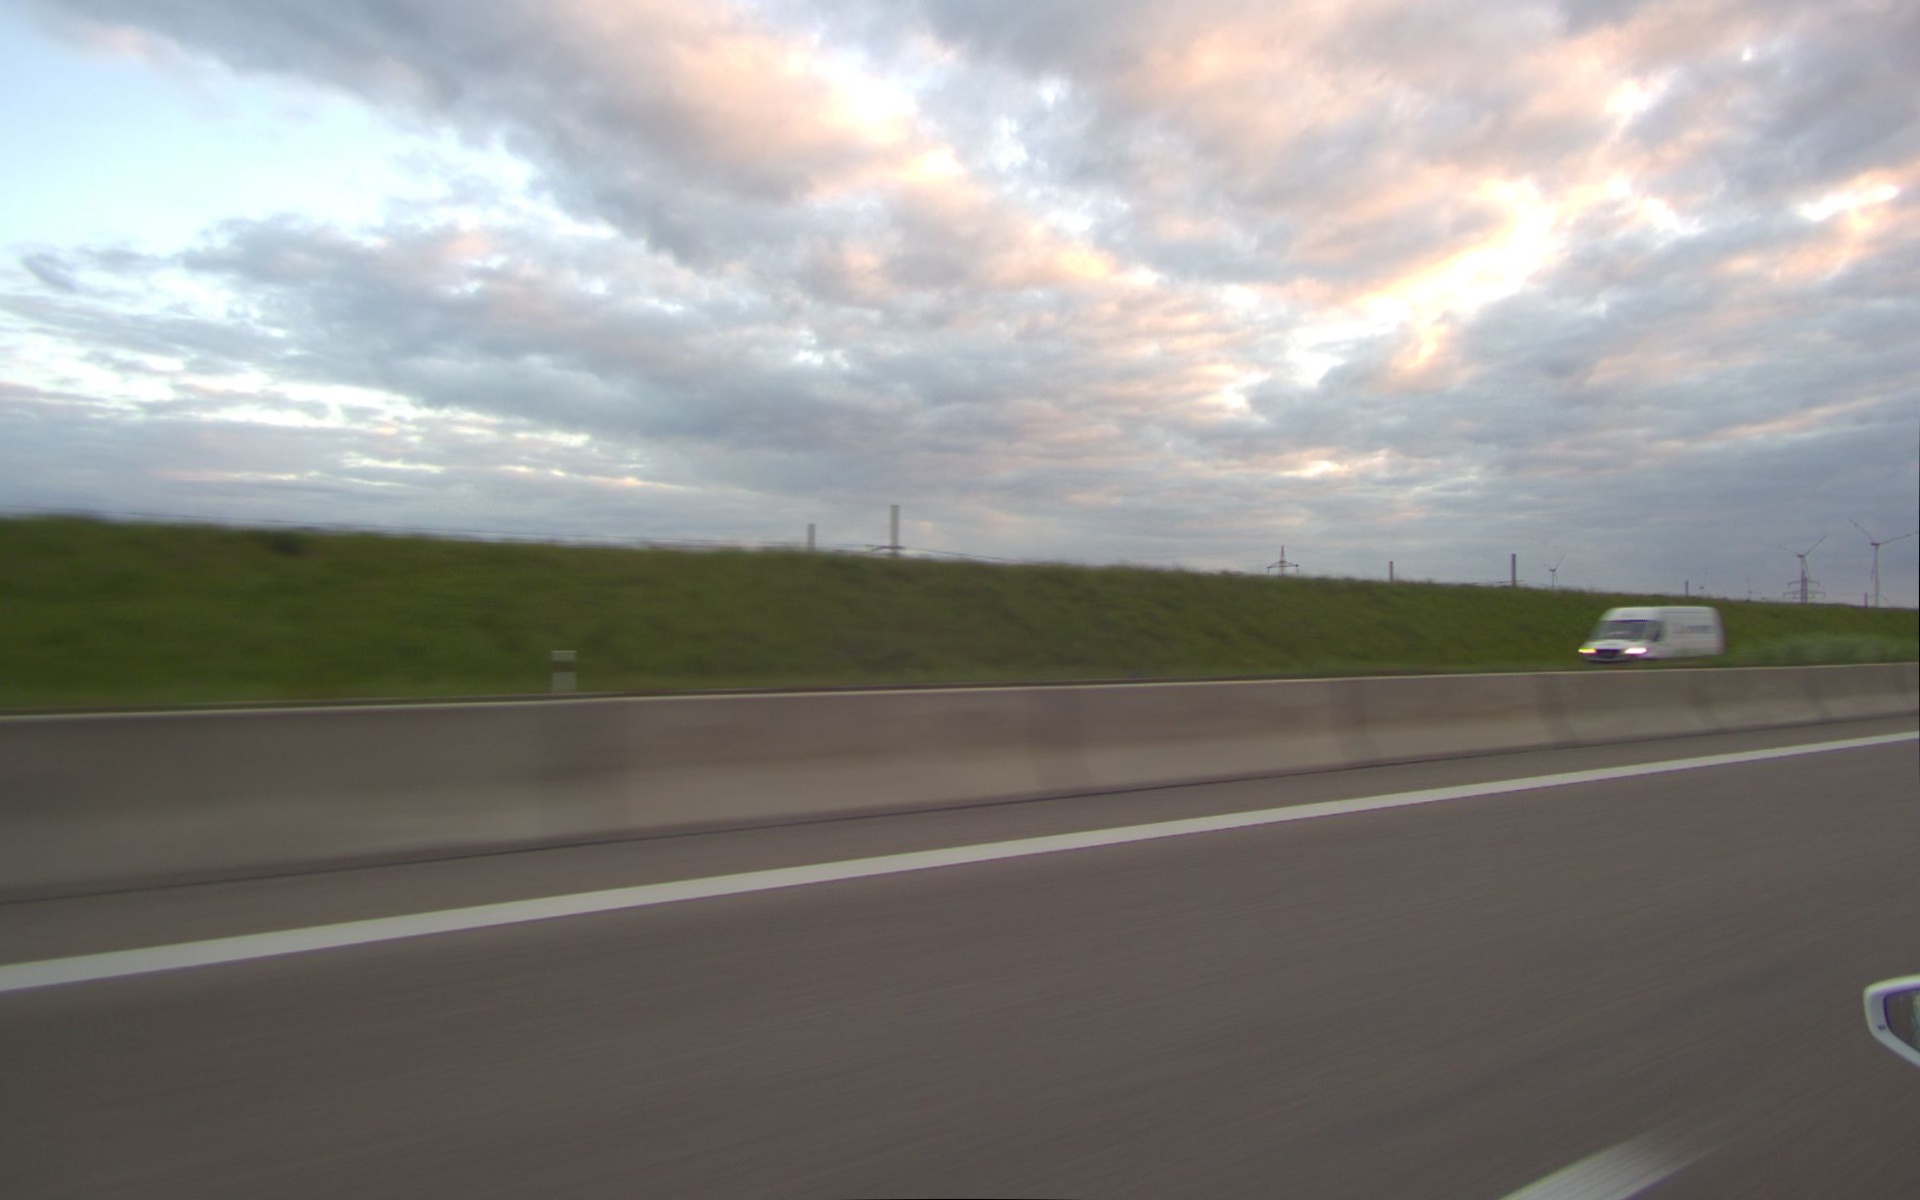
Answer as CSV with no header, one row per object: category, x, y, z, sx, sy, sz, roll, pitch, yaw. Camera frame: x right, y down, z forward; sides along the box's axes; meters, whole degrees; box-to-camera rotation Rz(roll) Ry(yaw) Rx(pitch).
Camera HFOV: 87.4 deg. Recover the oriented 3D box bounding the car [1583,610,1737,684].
car,26.411,1.745,37.800,7.293,2.580,1.983,2,-2,-31
